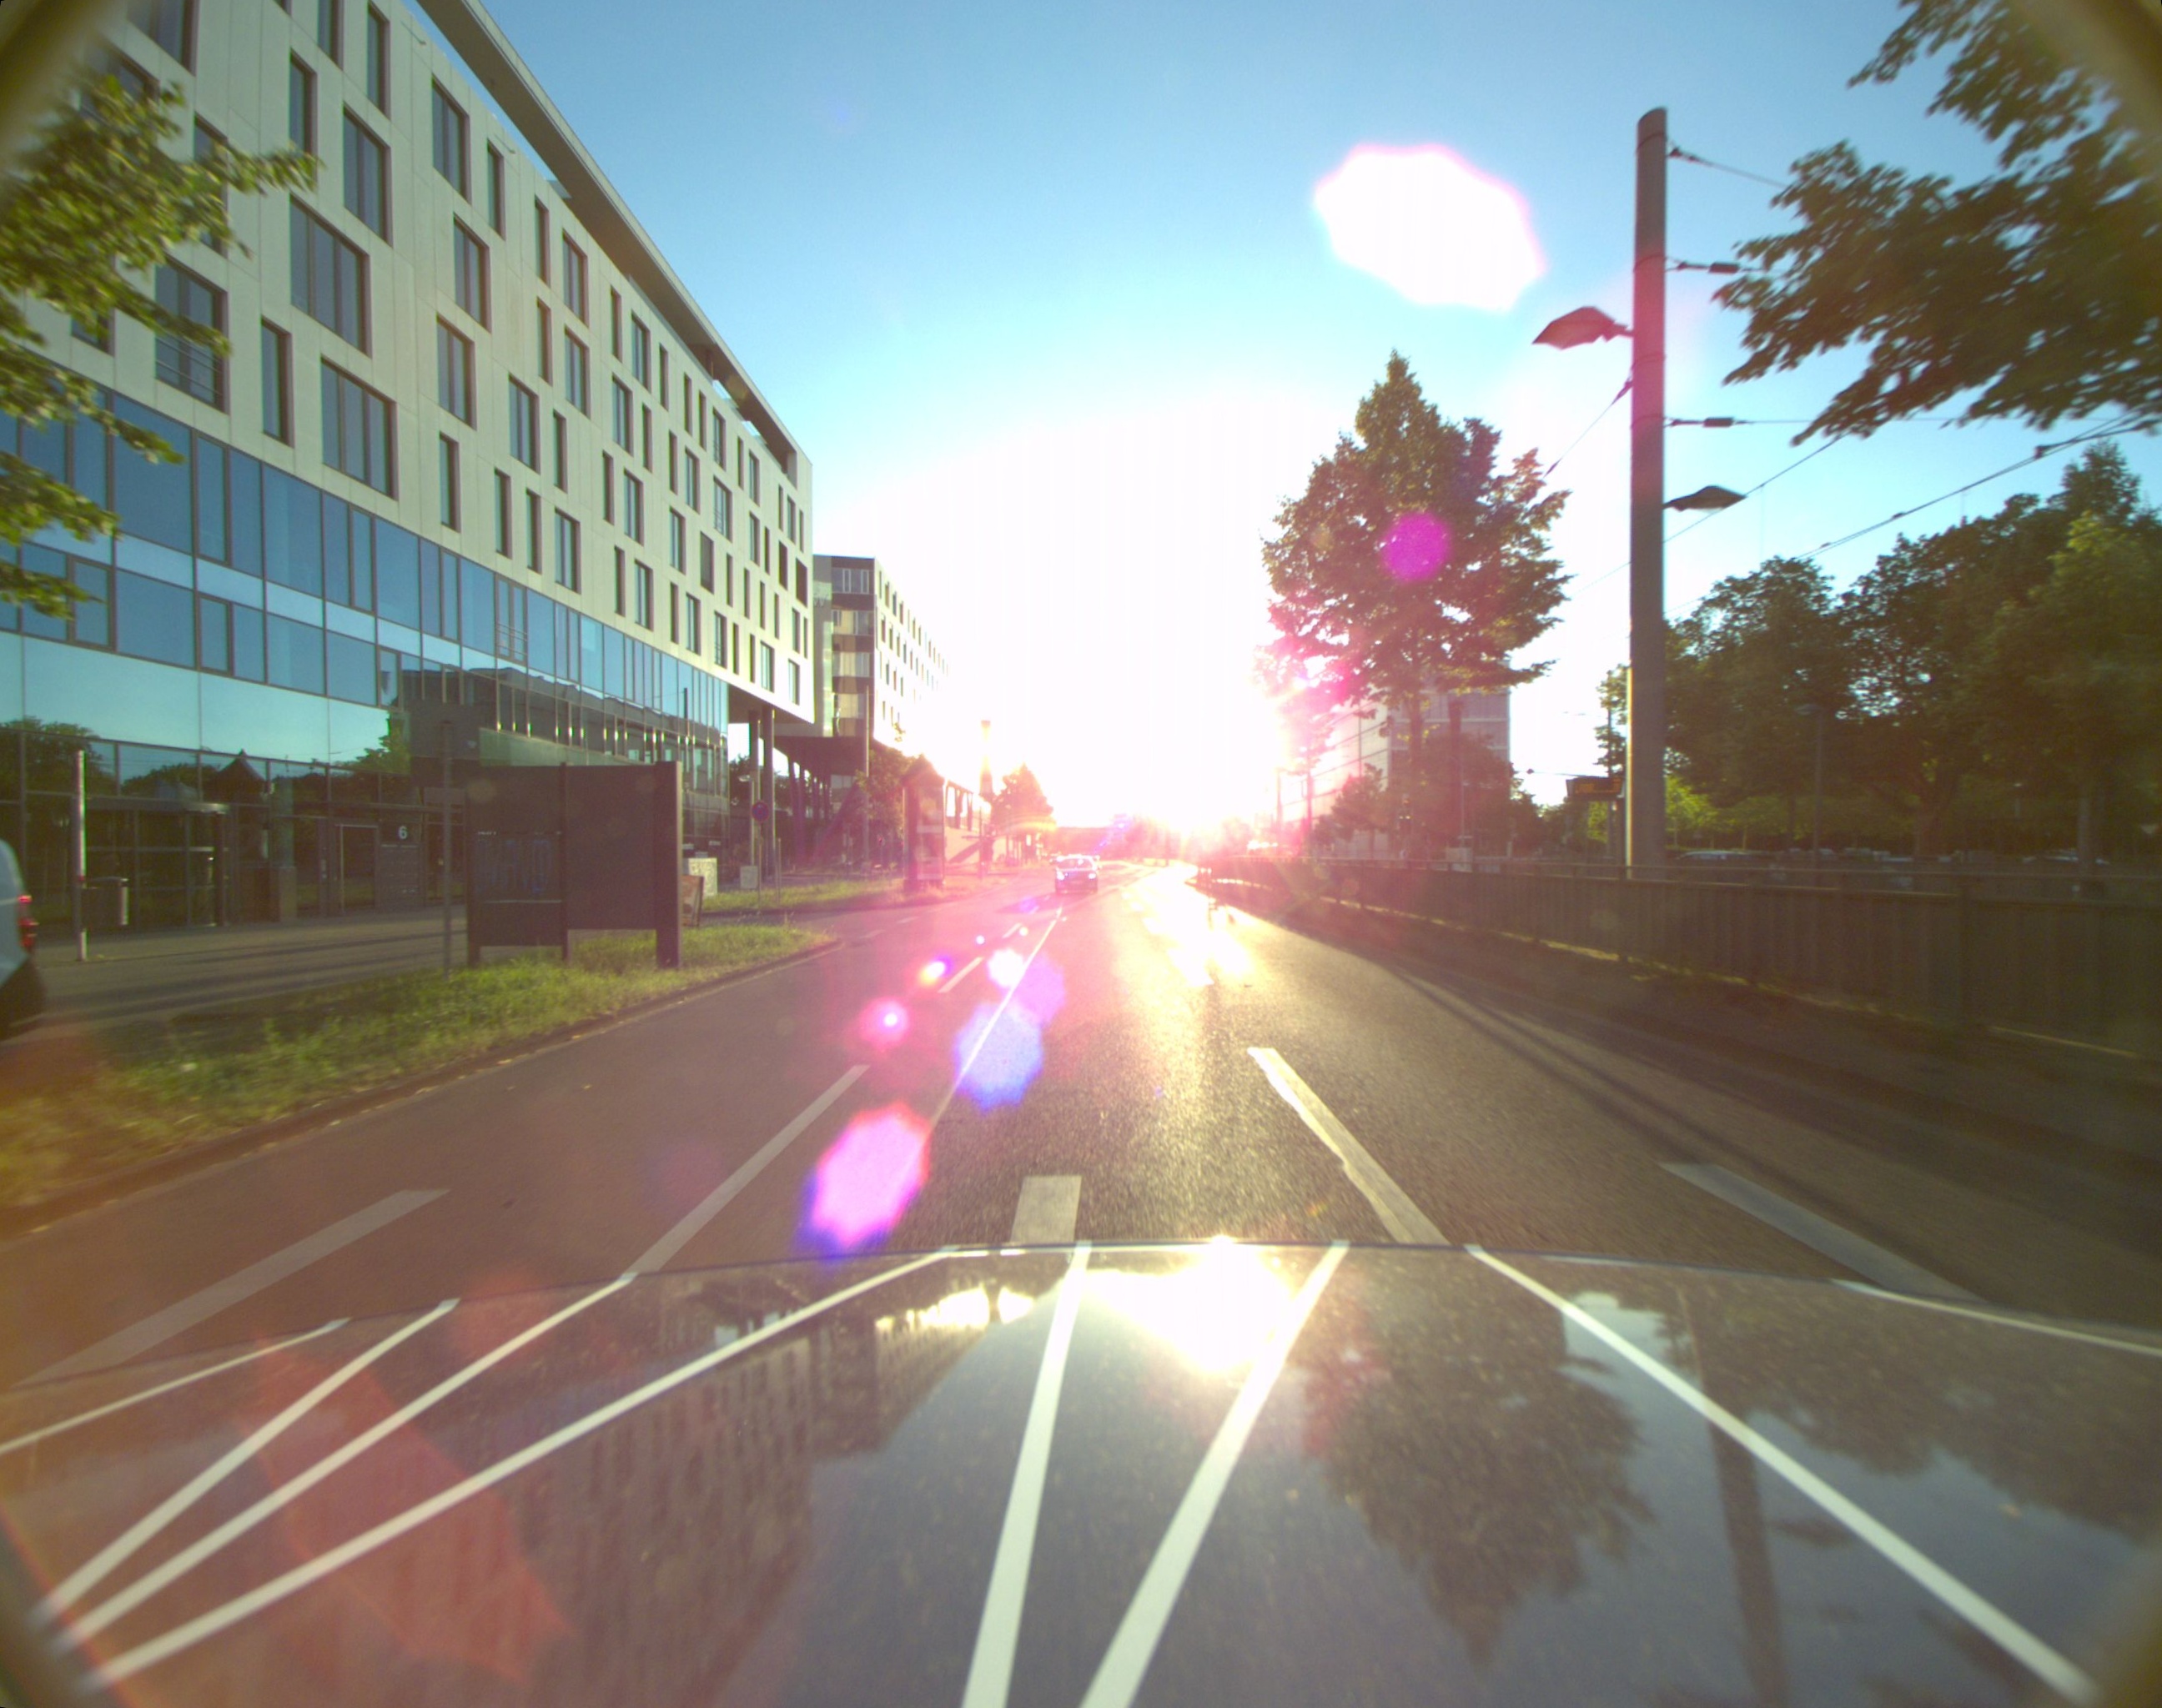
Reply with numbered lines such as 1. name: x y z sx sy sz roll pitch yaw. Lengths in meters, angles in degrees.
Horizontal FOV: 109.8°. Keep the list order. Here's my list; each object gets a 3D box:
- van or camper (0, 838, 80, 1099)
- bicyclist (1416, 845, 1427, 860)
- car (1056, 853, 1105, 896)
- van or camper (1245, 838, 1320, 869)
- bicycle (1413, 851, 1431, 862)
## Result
1. van or camper: -8.934 0.874 3.561 1.963 1.908 4.830 -2 0 1
2. bicyclist: 30.482 -0.124 67.995 0.642 1.309 0.652 -2 0 -39
3. car: -0.022 0.768 30.714 1.828 1.625 4.000 -1 0 0
4. van or camper: 14.383 -0.054 54.426 4.884 2.002 2.000 -2 0 2
5. bicycle: 30.516 0.217 68.010 1.794 0.998 0.652 -2 0 -39
